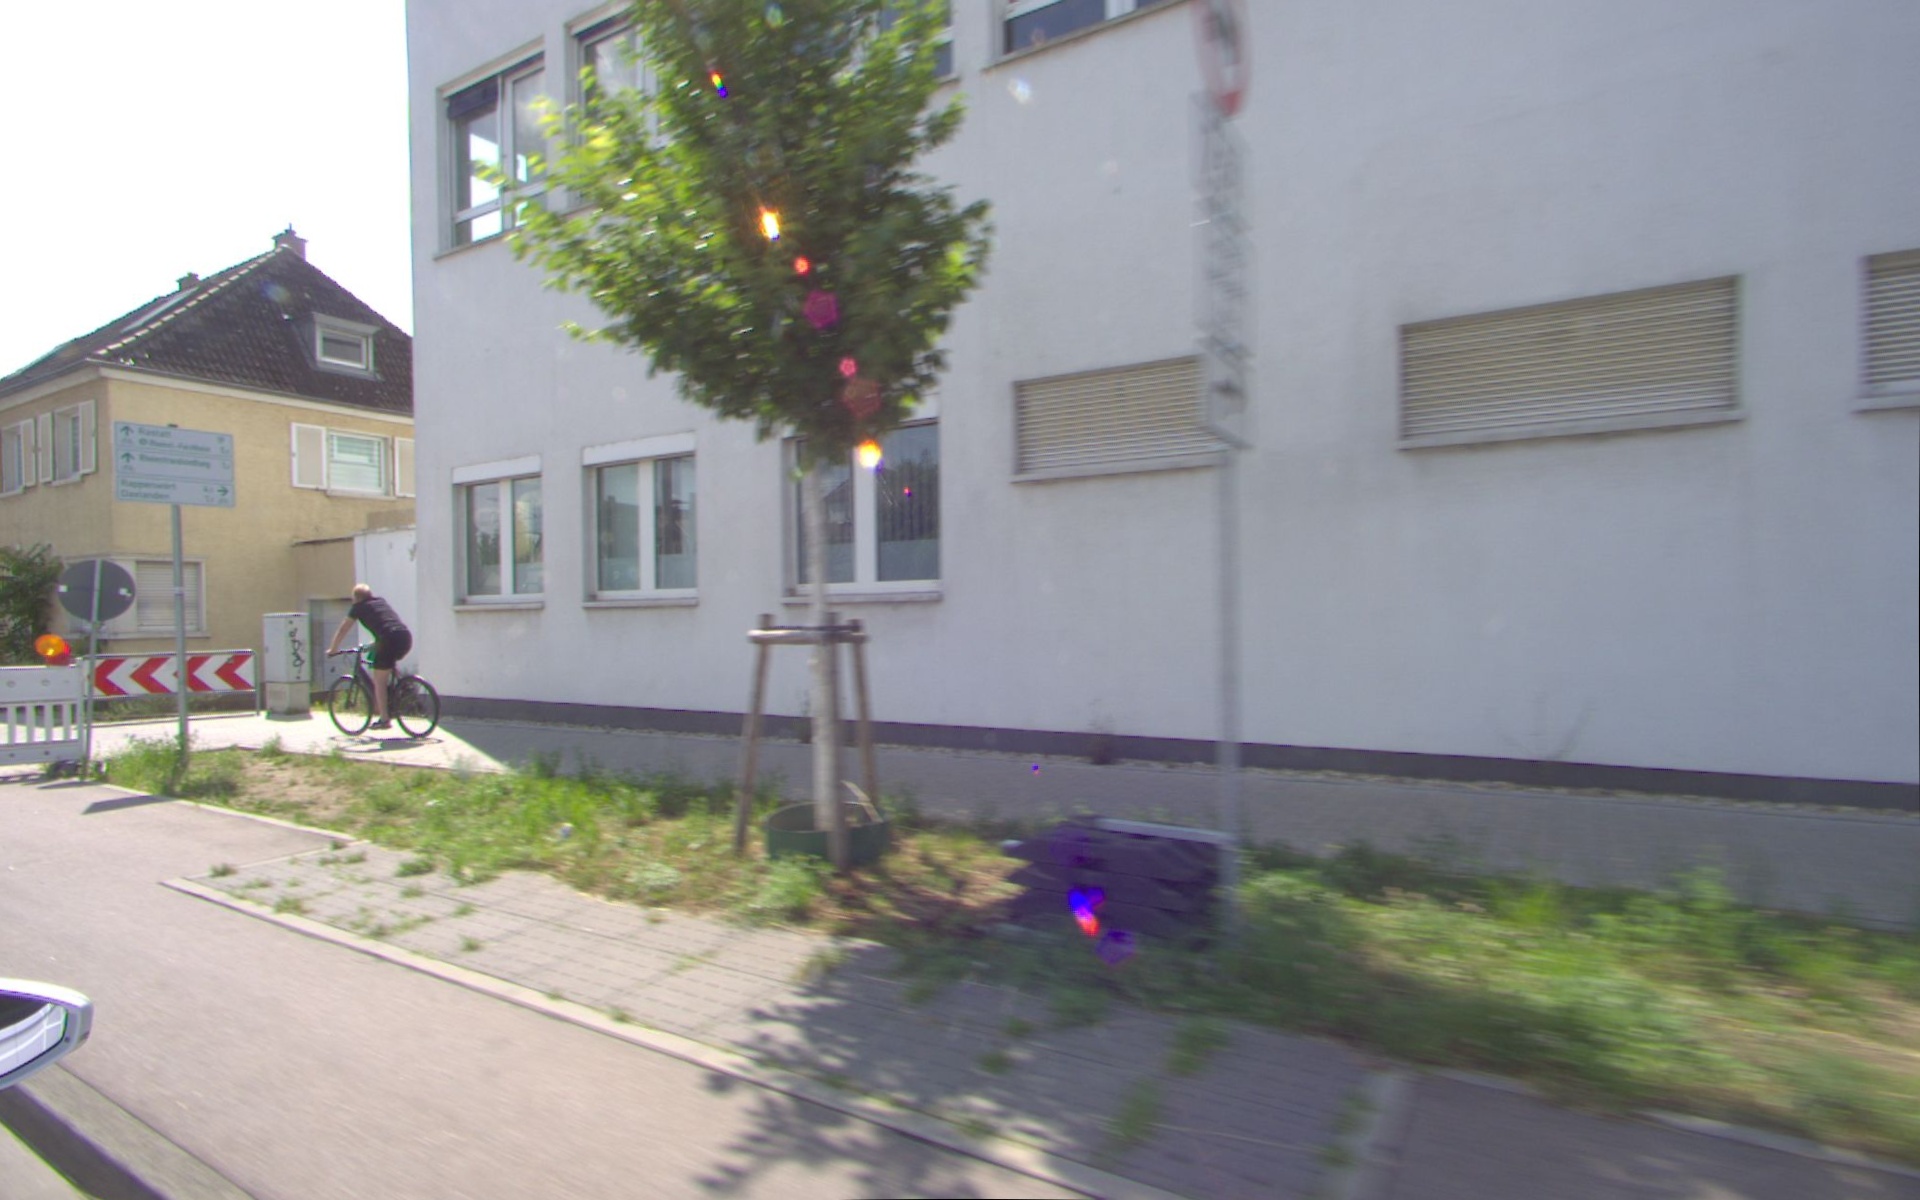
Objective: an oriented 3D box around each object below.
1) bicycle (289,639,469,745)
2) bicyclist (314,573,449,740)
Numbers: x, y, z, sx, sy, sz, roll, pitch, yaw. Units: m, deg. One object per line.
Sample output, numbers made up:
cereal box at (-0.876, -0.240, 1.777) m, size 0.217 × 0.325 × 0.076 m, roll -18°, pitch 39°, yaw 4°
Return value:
bicycle at (-6.685, 1.018, 11.515) m, size 1.939 × 1.090 × 0.828 m, roll -1°, pitch 1°, yaw 26°
bicyclist at (-6.620, 0.615, 11.478) m, size 1.066 × 1.818 × 0.828 m, roll 0°, pitch 2°, yaw 25°
